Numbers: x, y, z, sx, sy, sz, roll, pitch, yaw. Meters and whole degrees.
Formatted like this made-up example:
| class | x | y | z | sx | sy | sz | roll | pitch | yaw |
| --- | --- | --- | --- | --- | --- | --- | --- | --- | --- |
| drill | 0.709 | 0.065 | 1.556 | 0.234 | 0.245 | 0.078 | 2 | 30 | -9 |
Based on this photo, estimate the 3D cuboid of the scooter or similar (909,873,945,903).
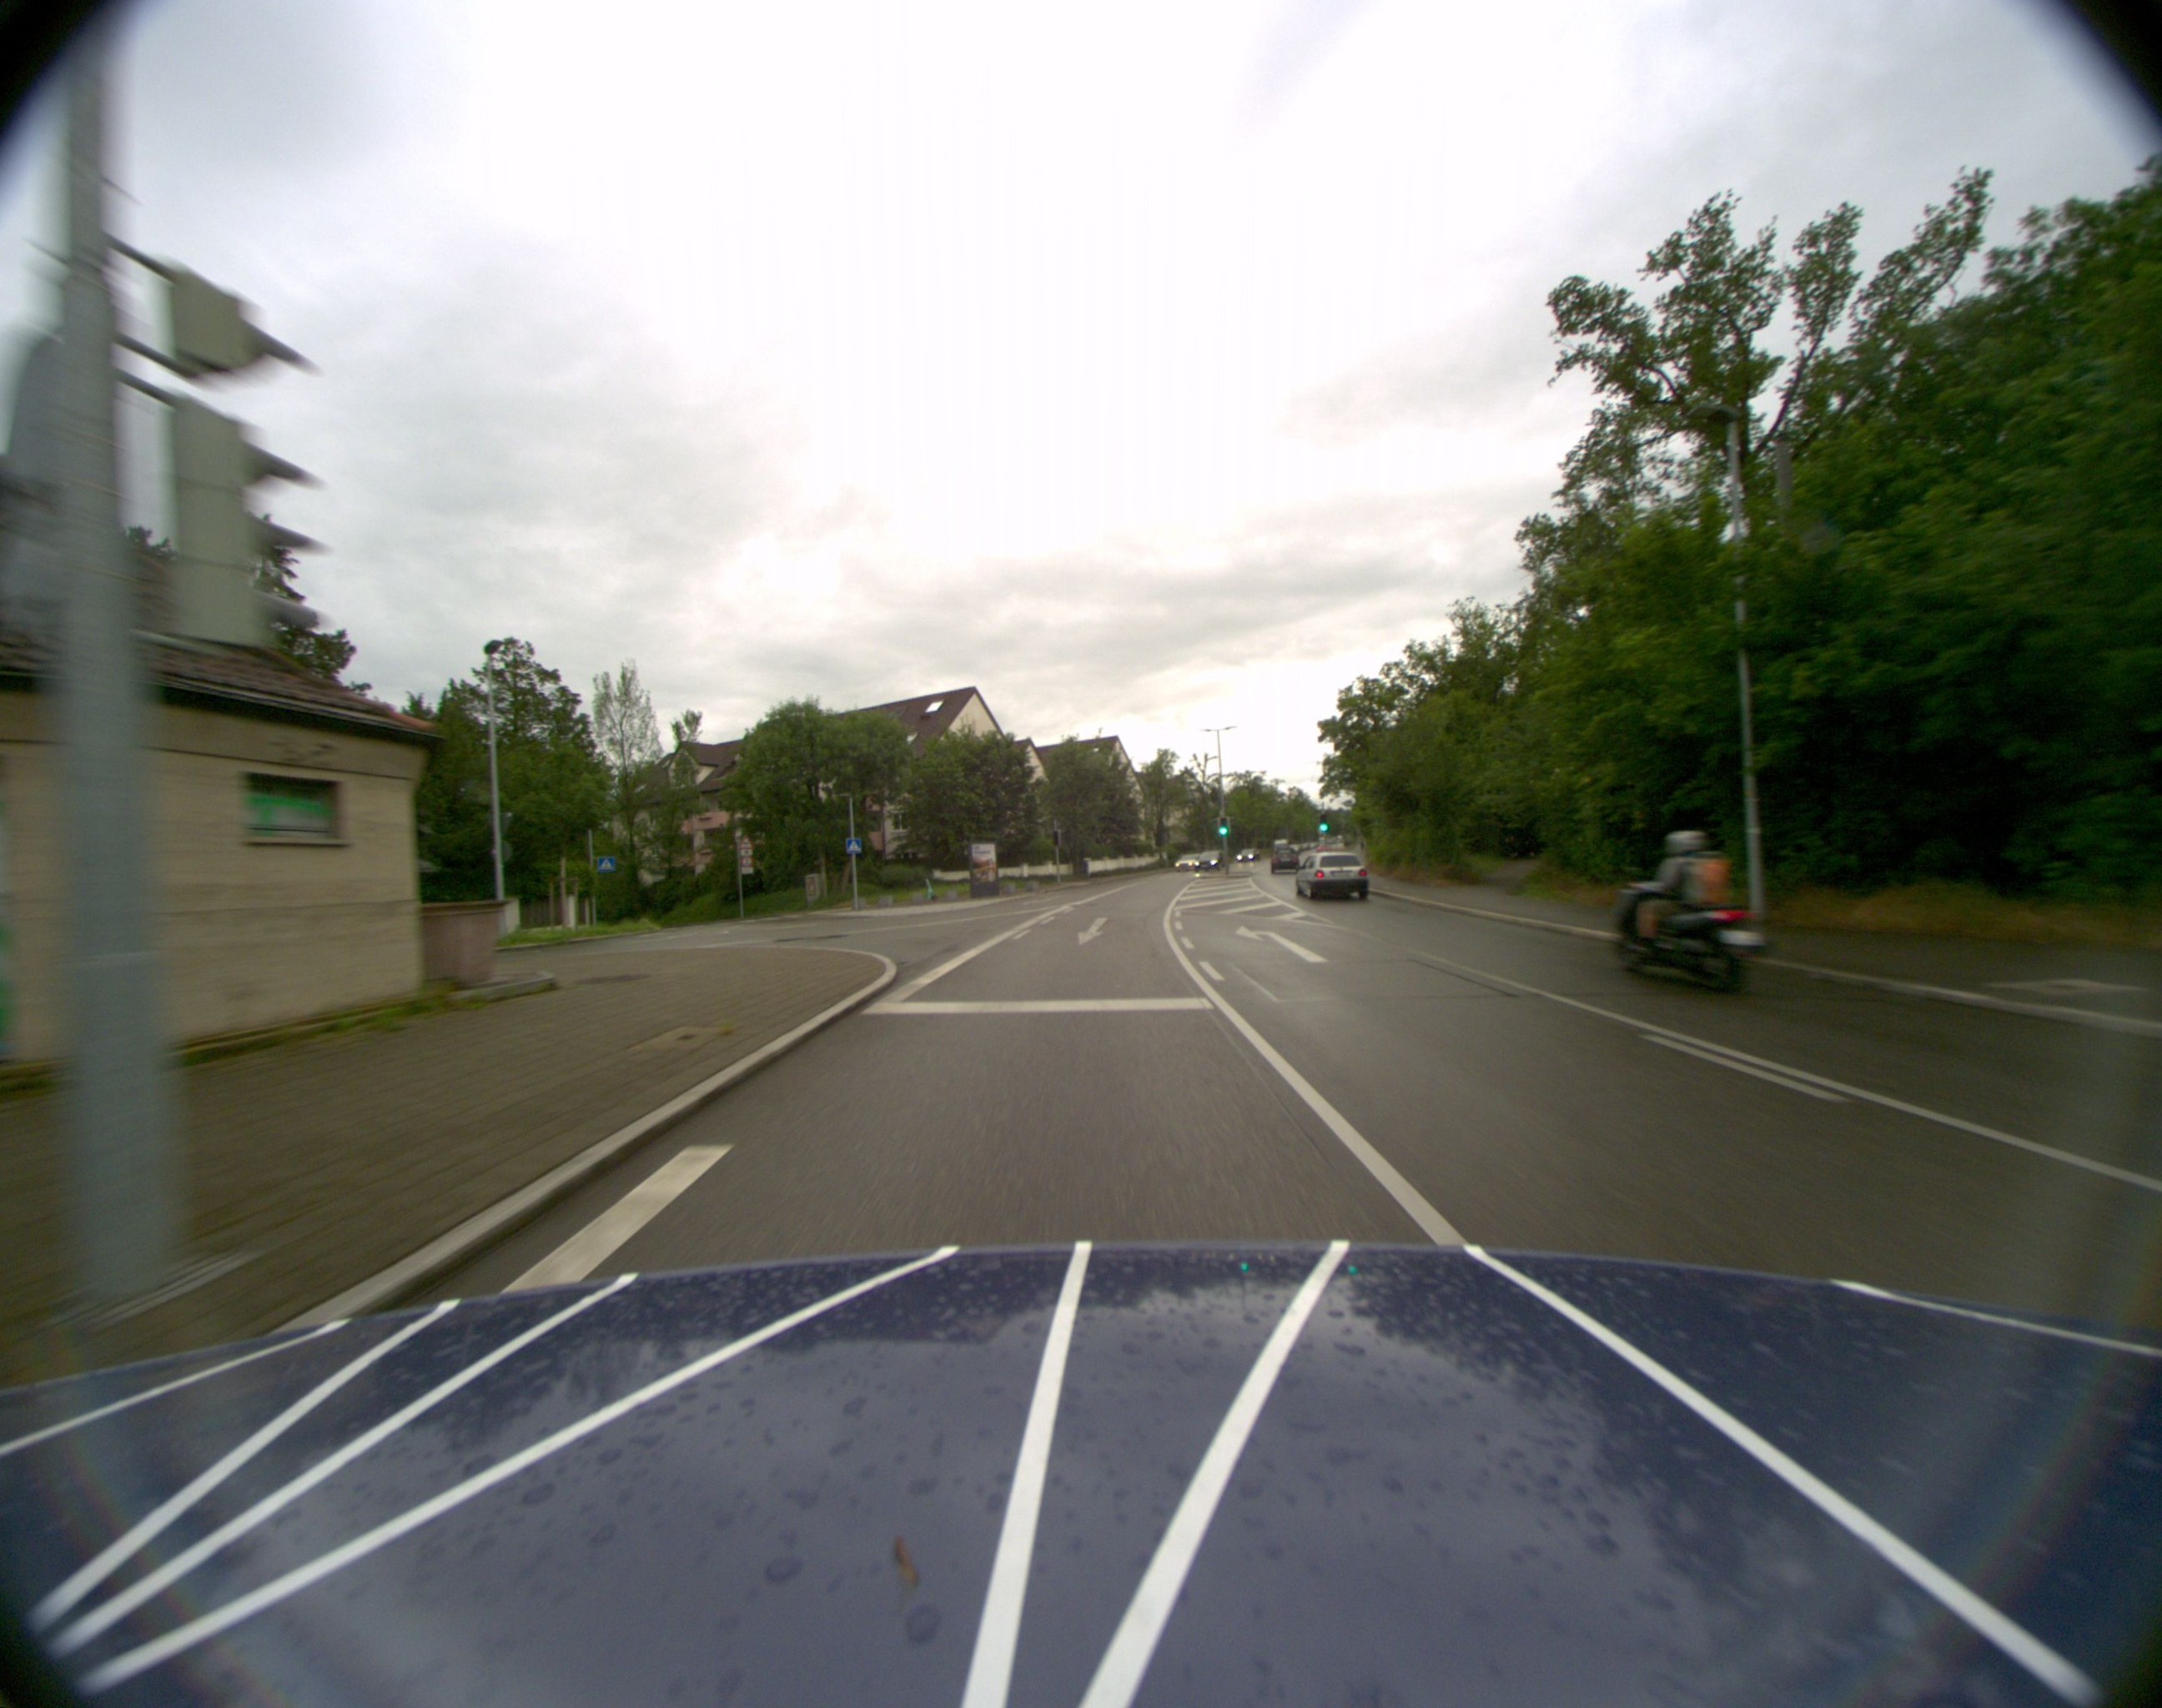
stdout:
| class | x | y | z | sx | sy | sz | roll | pitch | yaw |
| --- | --- | --- | --- | --- | --- | --- | --- | --- | --- |
| scooter or similar | -6.858 | 1.500 | 33.809 | 1.350 | 1.200 | 0.525 | -6 | 1 | 14 |

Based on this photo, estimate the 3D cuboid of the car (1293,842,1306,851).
| class | x | y | z | sx | sy | sz | roll | pitch | yaw |
| --- | --- | --- | --- | --- | --- | --- | --- | --- | --- |
| car | 39.395 | -1.355 | 137.081 | 1.942 | 1.594 | 4.610 | -2 | 0 | 20 |

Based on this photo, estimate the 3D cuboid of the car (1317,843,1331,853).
| class | x | y | z | sx | sy | sz | roll | pitch | yaw |
| --- | --- | --- | --- | --- | --- | --- | --- | --- | --- |
| car | 35.620 | -0.938 | 111.364 | 1.942 | 1.368 | 4.609 | -2 | 0 | 17 |

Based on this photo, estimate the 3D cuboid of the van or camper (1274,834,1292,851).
| class | x | y | z | sx | sy | sz | roll | pitch | yaw |
| --- | --- | --- | --- | --- | --- | --- | --- | --- | --- |
| van or camper | 31.379 | -1.785 | 118.137 | 1.996 | 2.438 | 4.728 | -3 | 0 | 22 |

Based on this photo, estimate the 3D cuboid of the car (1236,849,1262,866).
| class | x | y | z | sx | sy | sz | roll | pitch | yaw |
| --- | --- | --- | --- | --- | --- | --- | --- | --- | --- |
| car | 17.585 | 0.331 | 79.442 | 1.942 | 1.594 | 4.610 | -2 | 0 | 20 |

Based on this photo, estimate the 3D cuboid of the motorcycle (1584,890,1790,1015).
| class | x | y | z | sx | sy | sz | roll | pitch | yaw |
| --- | --- | --- | --- | --- | --- | --- | --- | --- | --- |
| motorcycle | 6.252 | 0.956 | 8.008 | 0.595 | 1.044 | 1.999 | -2 | 0 | 1 |

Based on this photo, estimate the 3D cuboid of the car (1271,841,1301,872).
| class | x | y | z | sx | sy | sz | roll | pitch | yaw |
| --- | --- | --- | --- | --- | --- | --- | --- | --- | --- |
| car | 11.976 | 0.127 | 44.614 | 1.578 | 1.720 | 3.778 | -2 | 0 | 14 |

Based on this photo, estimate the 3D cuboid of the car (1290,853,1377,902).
| class | x | y | z | sx | sy | sz | roll | pitch | yaw |
| --- | --- | --- | --- | --- | --- | --- | --- | --- | --- |
| car | 7.729 | 0.659 | 23.647 | 1.744 | 1.344 | 4.211 | -2 | 0 | 7 |

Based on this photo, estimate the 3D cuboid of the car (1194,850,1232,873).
| class | x | y | z | sx | sy | sz | roll | pitch | yaw |
| --- | --- | --- | --- | --- | --- | --- | --- | --- | --- |
| car | 9.475 | 0.487 | 54.131 | 1.942 | 1.446 | 4.610 | -2 | 0 | 19 |

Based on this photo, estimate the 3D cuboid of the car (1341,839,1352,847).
| class | x | y | z | sx | sy | sz | roll | pitch | yaw |
| --- | --- | --- | --- | --- | --- | --- | --- | --- | --- |
| car | 52.752 | -2.154 | 150.861 | 1.942 | 1.594 | 4.610 | -2 | 0 | 20 |

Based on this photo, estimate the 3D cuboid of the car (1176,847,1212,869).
| class | x | y | z | sx | sy | sz | roll | pitch | yaw |
| --- | --- | --- | --- | --- | --- | --- | --- | --- | --- |
| car | 9.228 | 0.297 | 61.730 | 1.942 | 1.594 | 4.610 | -2 | 0 | 20 |

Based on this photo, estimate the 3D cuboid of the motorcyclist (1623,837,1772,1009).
| class | x | y | z | sx | sy | sz | roll | pitch | yaw |
| --- | --- | --- | --- | --- | --- | --- | --- | --- | --- |
| motorcyclist | 6.236 | 0.663 | 7.742 | 0.747 | 1.622 | 0.927 | -2 | 0 | 1 |

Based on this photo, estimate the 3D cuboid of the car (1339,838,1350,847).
| class | x | y | z | sx | sy | sz | roll | pitch | yaw |
| --- | --- | --- | --- | --- | --- | --- | --- | --- | --- |
| car | 49.560 | -2.169 | 142.910 | 1.942 | 1.594 | 4.610 | -2 | 0 | 20 |
